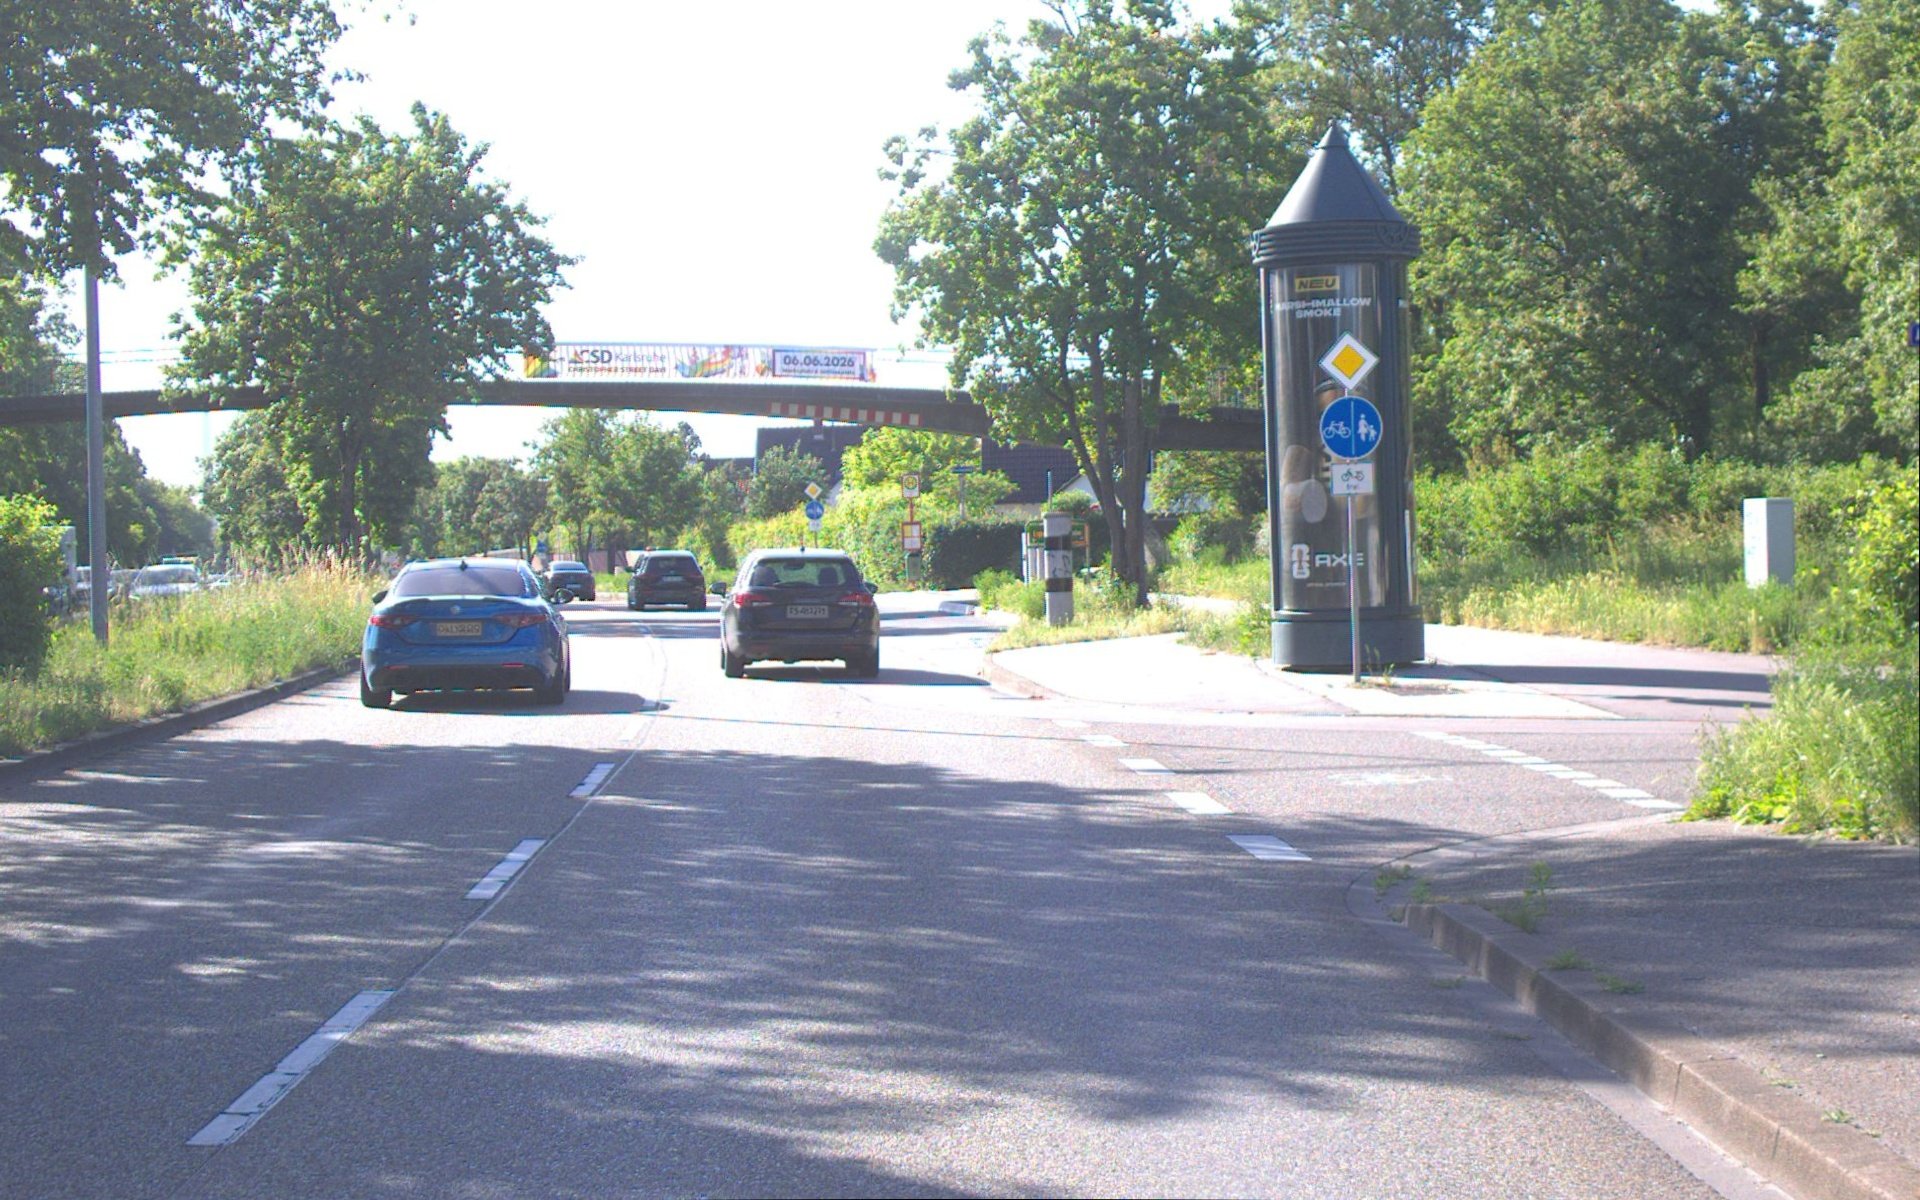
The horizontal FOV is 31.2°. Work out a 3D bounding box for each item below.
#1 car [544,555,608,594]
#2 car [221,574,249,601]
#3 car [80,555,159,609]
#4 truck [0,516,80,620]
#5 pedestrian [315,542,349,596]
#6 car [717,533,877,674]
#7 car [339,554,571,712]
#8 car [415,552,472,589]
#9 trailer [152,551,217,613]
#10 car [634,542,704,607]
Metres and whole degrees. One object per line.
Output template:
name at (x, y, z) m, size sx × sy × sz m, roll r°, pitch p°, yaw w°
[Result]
car at (-13.908, -0.938, 124.393) m, size 1.898 × 1.351 × 4.001 m, roll -1°, pitch 1°, yaw -12°
car at (-46.811, -0.807, 222.021) m, size 1.730 × 1.626 × 4.199 m, roll -2°, pitch 1°, yaw -12°
car at (-27.199, -0.601, 111.403) m, size 1.856 × 1.600 × 4.369 m, roll -3°, pitch 1°, yaw -6°
truck at (-23.923, -0.808, 87.841) m, size 2.172 × 2.504 × 5.743 m, roll -3°, pitch 1°, yaw -9°
pedestrian at (-19.775, -0.983, 108.249) m, size 0.631 × 1.691 × 0.942 m, roll -1°, pitch 1°, yaw 19°
car at (-1.877, 0.047, 40.215) m, size 1.760 × 1.554 × 4.000 m, roll 0°, pitch 0°, yaw -2°
car at (-4.884, 0.276, 33.707) m, size 1.994 × 1.400 × 4.001 m, roll -1°, pitch 1°, yaw -5°
car at (-19.811, -1.132, 131.712) m, size 1.898 × 1.351 × 4.001 m, roll -1°, pitch 1°, yaw -12°
trailer at (-24.771, -0.592, 109.909) m, size 1.562 × 1.903 × 4.283 m, roll -1°, pitch 1°, yaw -7°
car at (-7.479, -0.681, 88.166) m, size 1.743 × 1.592 × 4.175 m, roll -1°, pitch 1°, yaw -5°
